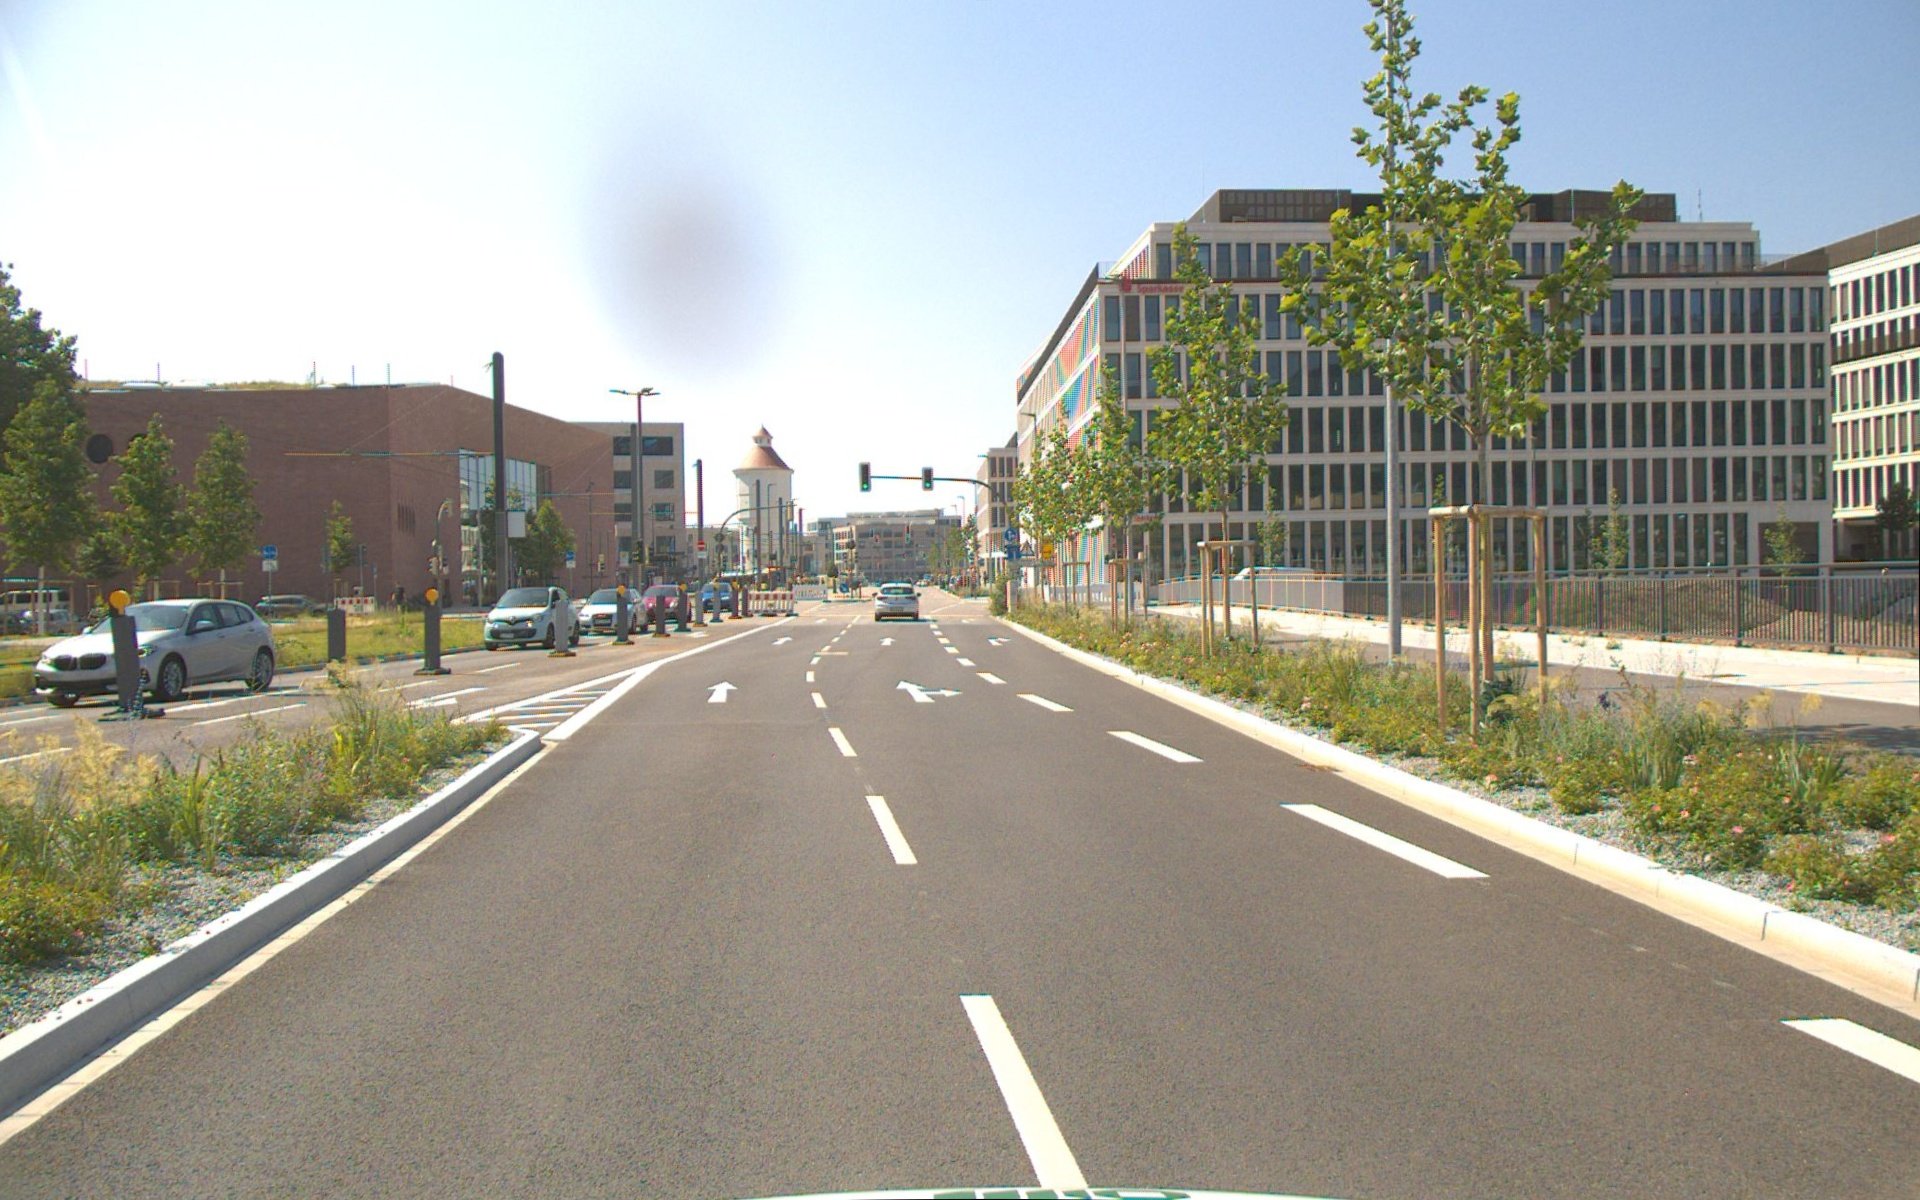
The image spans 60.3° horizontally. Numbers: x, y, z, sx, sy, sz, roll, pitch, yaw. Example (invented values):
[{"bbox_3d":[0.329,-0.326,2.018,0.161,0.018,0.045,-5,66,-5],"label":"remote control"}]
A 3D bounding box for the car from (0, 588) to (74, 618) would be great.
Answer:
[{"bbox_3d":[-54.517,0.156,97.604,3.471,1.719,1.693,0,1,-2],"label":"car"}]

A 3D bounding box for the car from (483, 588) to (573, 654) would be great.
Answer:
[{"bbox_3d":[-11.152,0.510,42.891,1.549,1.557,3.617,-3,0,-4],"label":"car"}]

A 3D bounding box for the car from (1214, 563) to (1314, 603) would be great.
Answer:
[{"bbox_3d":[18.584,-1.055,101.246,5.719,2.310,2.146,1,1,-2],"label":"car"}]

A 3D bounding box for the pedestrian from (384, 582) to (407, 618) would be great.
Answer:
[{"bbox_3d":[-30.076,0.005,88.150,0.794,1.879,1.108,-1,1,4],"label":"pedestrian"}]

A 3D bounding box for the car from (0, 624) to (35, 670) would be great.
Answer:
[{"bbox_3d":[-38.278,1.860,64.733,1.664,1.792,4.529,0,0,-2],"label":"car"}]

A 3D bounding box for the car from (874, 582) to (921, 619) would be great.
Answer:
[{"bbox_3d":[-2.450,0.015,65.825,1.735,1.419,3.531,0,0,0],"label":"car"}]

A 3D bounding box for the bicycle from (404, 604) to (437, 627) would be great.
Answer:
[{"bbox_3d":[-35.376,1.009,108.452,2.015,1.478,0.538,-1,1,-13],"label":"bicycle"}]

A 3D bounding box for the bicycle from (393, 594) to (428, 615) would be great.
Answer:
[{"bbox_3d":[-34.529,0.287,103.900,2.015,1.233,0.538,-2,0,-13],"label":"bicycle"}]

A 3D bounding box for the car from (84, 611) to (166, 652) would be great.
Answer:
[{"bbox_3d":[-38.340,1.411,76.015,1.664,1.792,4.299,0,0,-2],"label":"car"}]

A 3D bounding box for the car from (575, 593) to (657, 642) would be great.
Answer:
[{"bbox_3d":[-11.024,0.546,53.274,1.547,1.441,4.298,-2,0,2],"label":"car"}]

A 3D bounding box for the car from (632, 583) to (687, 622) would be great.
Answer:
[{"bbox_3d":[-11.811,0.090,65.132,1.548,1.441,3.997,-2,0,-2],"label":"car"}]

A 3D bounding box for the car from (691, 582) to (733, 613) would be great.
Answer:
[{"bbox_3d":[-12.247,-0.149,81.897,1.595,1.452,4.288,-2,1,-3],"label":"car"}]

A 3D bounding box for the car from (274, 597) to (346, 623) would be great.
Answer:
[{"bbox_3d":[-36.441,0.546,92.718,3.409,1.393,1.572,0,1,-3],"label":"car"}]

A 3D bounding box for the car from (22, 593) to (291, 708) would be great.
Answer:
[{"bbox_3d":[-11.933,0.686,24.927,1.639,1.468,4.470,-3,0,3],"label":"car"}]

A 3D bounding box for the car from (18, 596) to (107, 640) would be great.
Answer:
[{"bbox_3d":[-37.893,0.742,69.952,1.664,1.792,3.938,0,0,-1],"label":"car"}]
